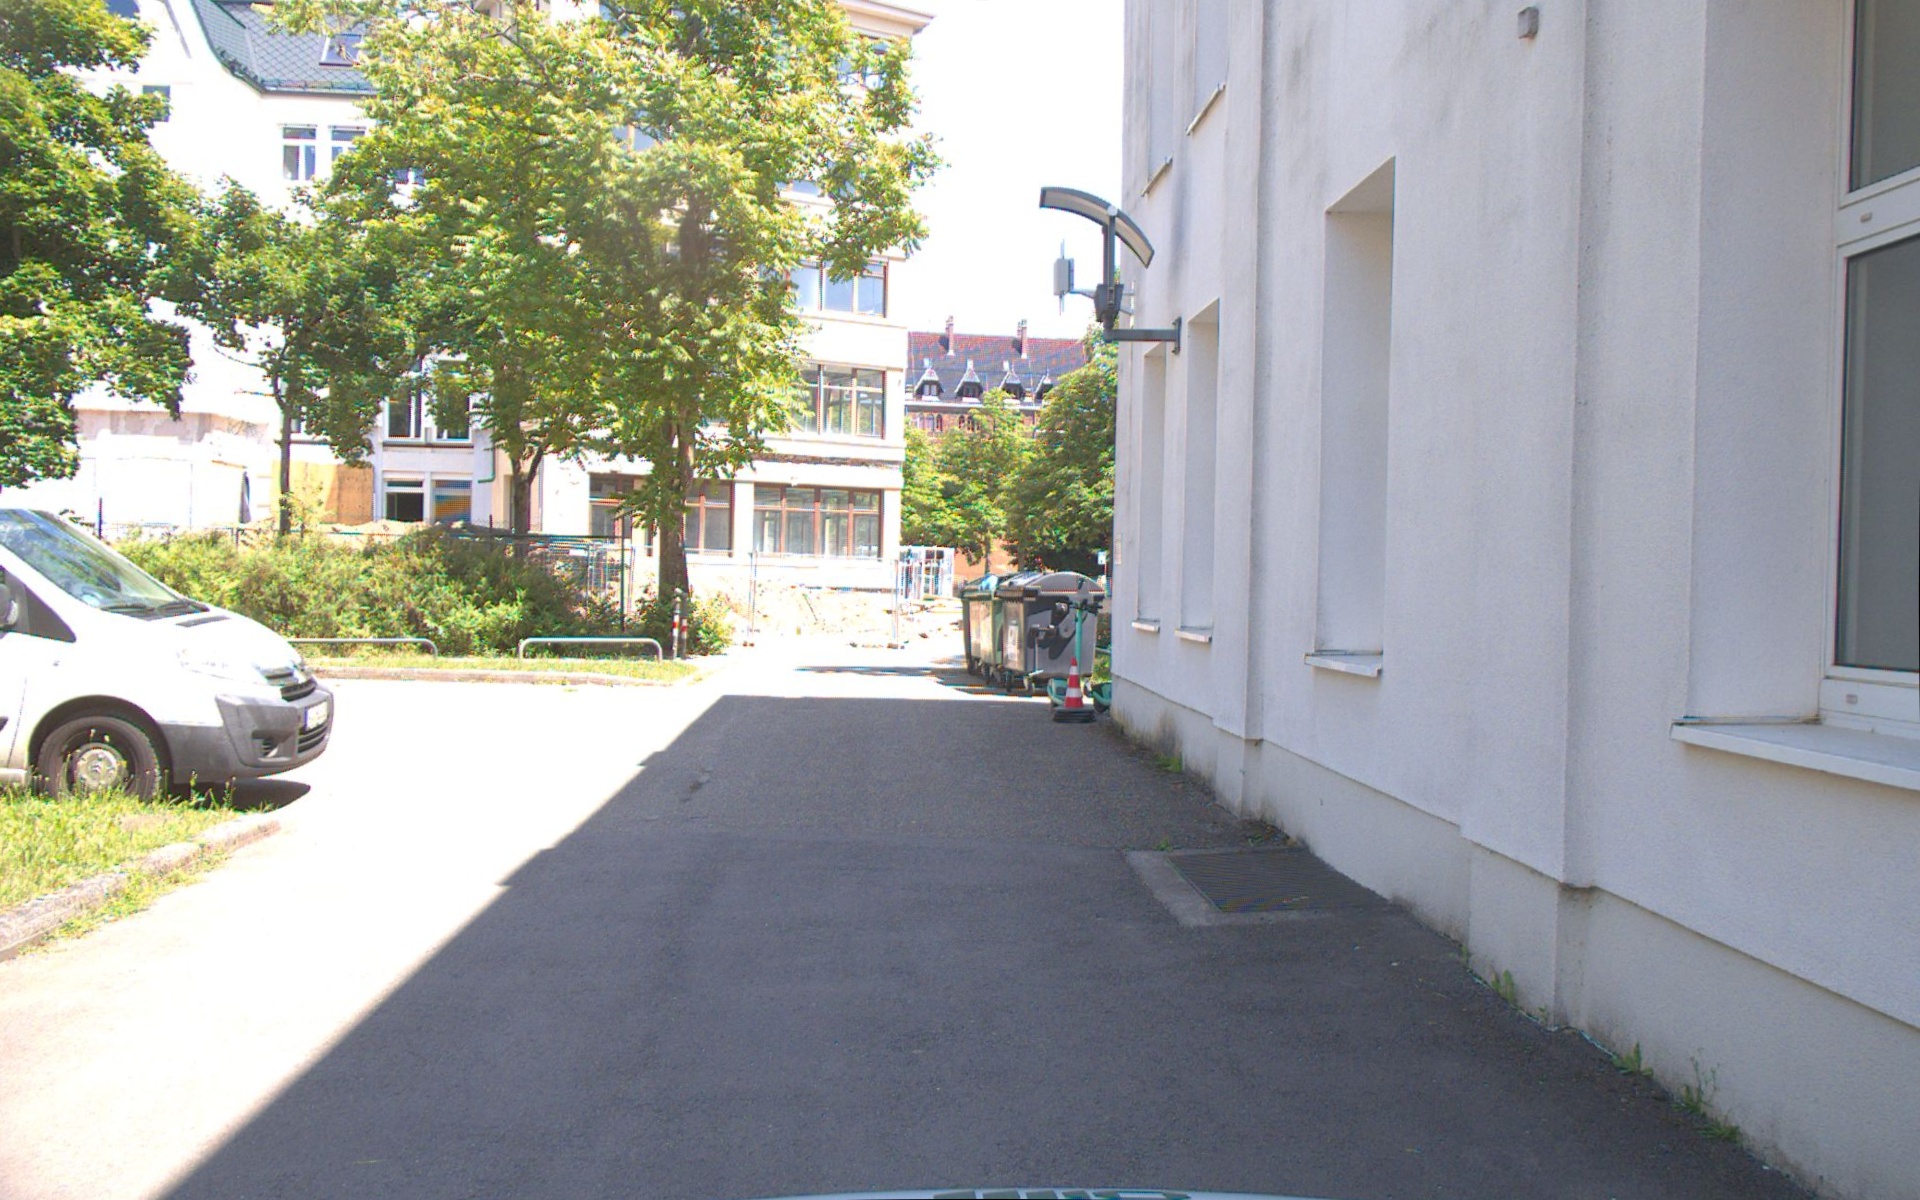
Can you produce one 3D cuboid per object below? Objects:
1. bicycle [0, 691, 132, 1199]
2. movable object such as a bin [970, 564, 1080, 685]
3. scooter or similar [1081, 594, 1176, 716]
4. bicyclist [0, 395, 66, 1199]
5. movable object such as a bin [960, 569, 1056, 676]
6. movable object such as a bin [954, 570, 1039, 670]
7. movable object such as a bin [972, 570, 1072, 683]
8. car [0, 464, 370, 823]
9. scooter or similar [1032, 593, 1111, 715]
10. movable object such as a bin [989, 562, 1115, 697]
[{"bbox_3d":[-2.260,0.836,3.047,0.631,1.194,1.903,1,1,-5],"label":"bicycle"},{"bbox_3d":[0.830,0.317,21.537,1.157,1.495,1.308,2,-1,-10],"label":"movable object such as a bin"},{"bbox_3d":[1.722,0.547,17.034,0.457,1.194,1.248,1,0,-20],"label":"scooter or similar"},{"bbox_3d":[-2.244,0.407,3.020,0.709,1.637,0.977,2,0,-6],"label":"bicyclist"},{"bbox_3d":[0.692,0.329,24.358,1.157,1.495,1.309,2,-1,-9],"label":"movable object such as a bin"},{"bbox_3d":[0.586,0.315,25.893,1.154,1.495,1.334,2,-1,8],"label":"movable object such as a bin"},{"bbox_3d":[0.848,0.362,22.925,1.156,1.495,1.309,2,-1,-7],"label":"movable object such as a bin"},{"bbox_3d":[-6.182,0.209,9.833,4.699,1.944,1.996,1,1,-9],"label":"car"},{"bbox_3d":[1.139,0.536,17.139,0.455,1.194,1.353,1,0,-12],"label":"scooter or similar"},{"bbox_3d":[1.076,0.341,19.816,1.135,1.532,1.458,2,-1,-12],"label":"movable object such as a bin"}]
